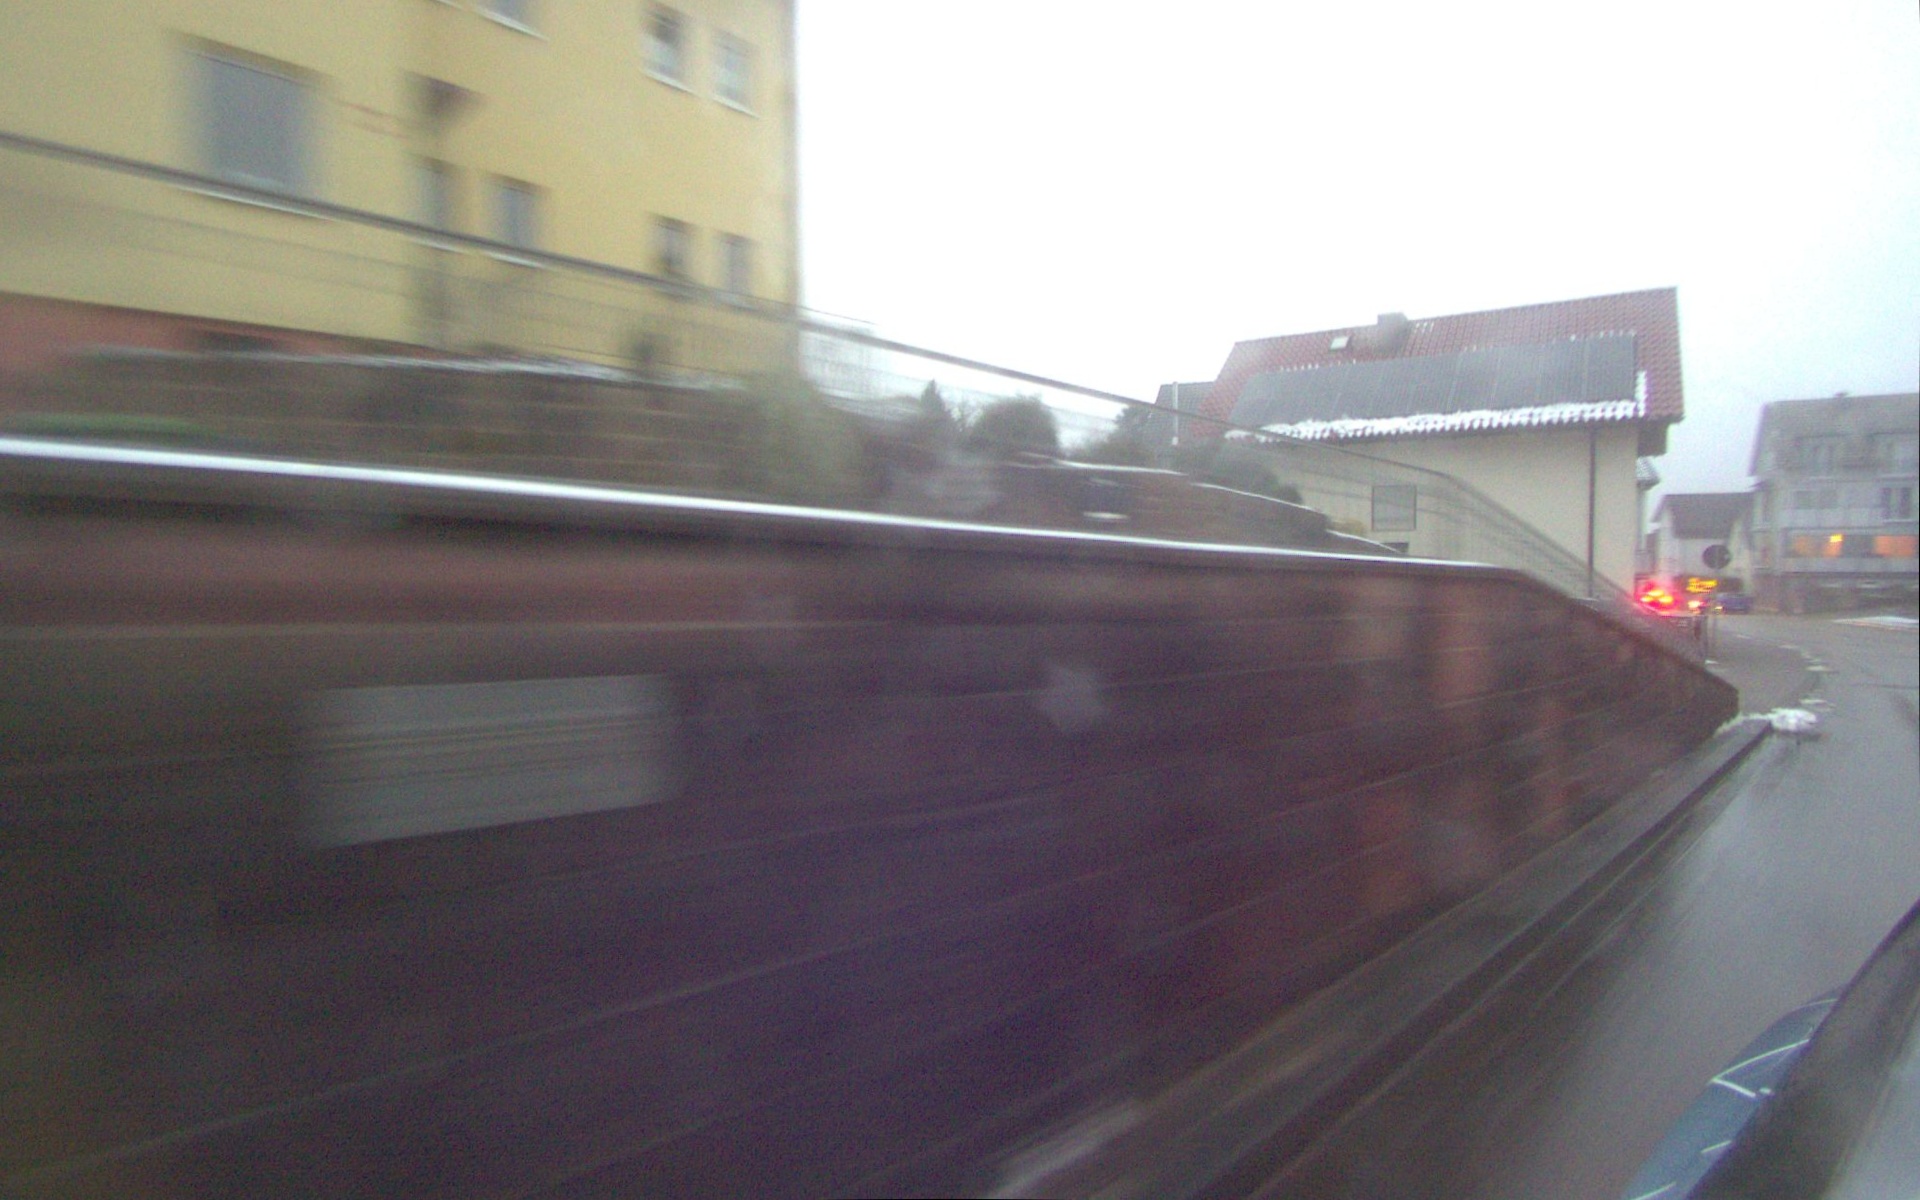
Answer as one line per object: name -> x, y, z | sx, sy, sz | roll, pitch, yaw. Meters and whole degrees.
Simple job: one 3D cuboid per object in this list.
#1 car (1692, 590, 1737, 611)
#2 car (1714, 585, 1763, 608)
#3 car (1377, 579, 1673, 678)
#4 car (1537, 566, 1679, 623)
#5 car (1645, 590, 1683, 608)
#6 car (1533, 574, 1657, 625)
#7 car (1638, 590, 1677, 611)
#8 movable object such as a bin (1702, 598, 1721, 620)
car -> 52.681, 0.018, 70.697 | 1.651, 1.435, 3.662 | -1, 0, 23
car -> 51.347, -0.250, 66.791 | 1.655, 1.427, 3.882 | 1, 0, 24
car -> 10.390, 0.437, 18.801 | 4.500, 1.461, 1.971 | 4, 2, 40
car -> 24.275, -0.264, 38.135 | 4.264, 1.473, 1.760 | 10, 7, 30
car -> 59.658, -0.067, 85.788 | 1.720, 1.462, 4.405 | 1, 1, 23
car -> 26.091, -0.067, 41.735 | 3.964, 1.473, 1.675 | 10, 5, 25
car -> 55.798, 0.032, 81.049 | 1.761, 1.514, 4.342 | 2, 1, 25
movable object such as a bin -> 35.651, 0.425, 48.020 | 0.611, 0.957, 0.588 | 5, 4, 31
